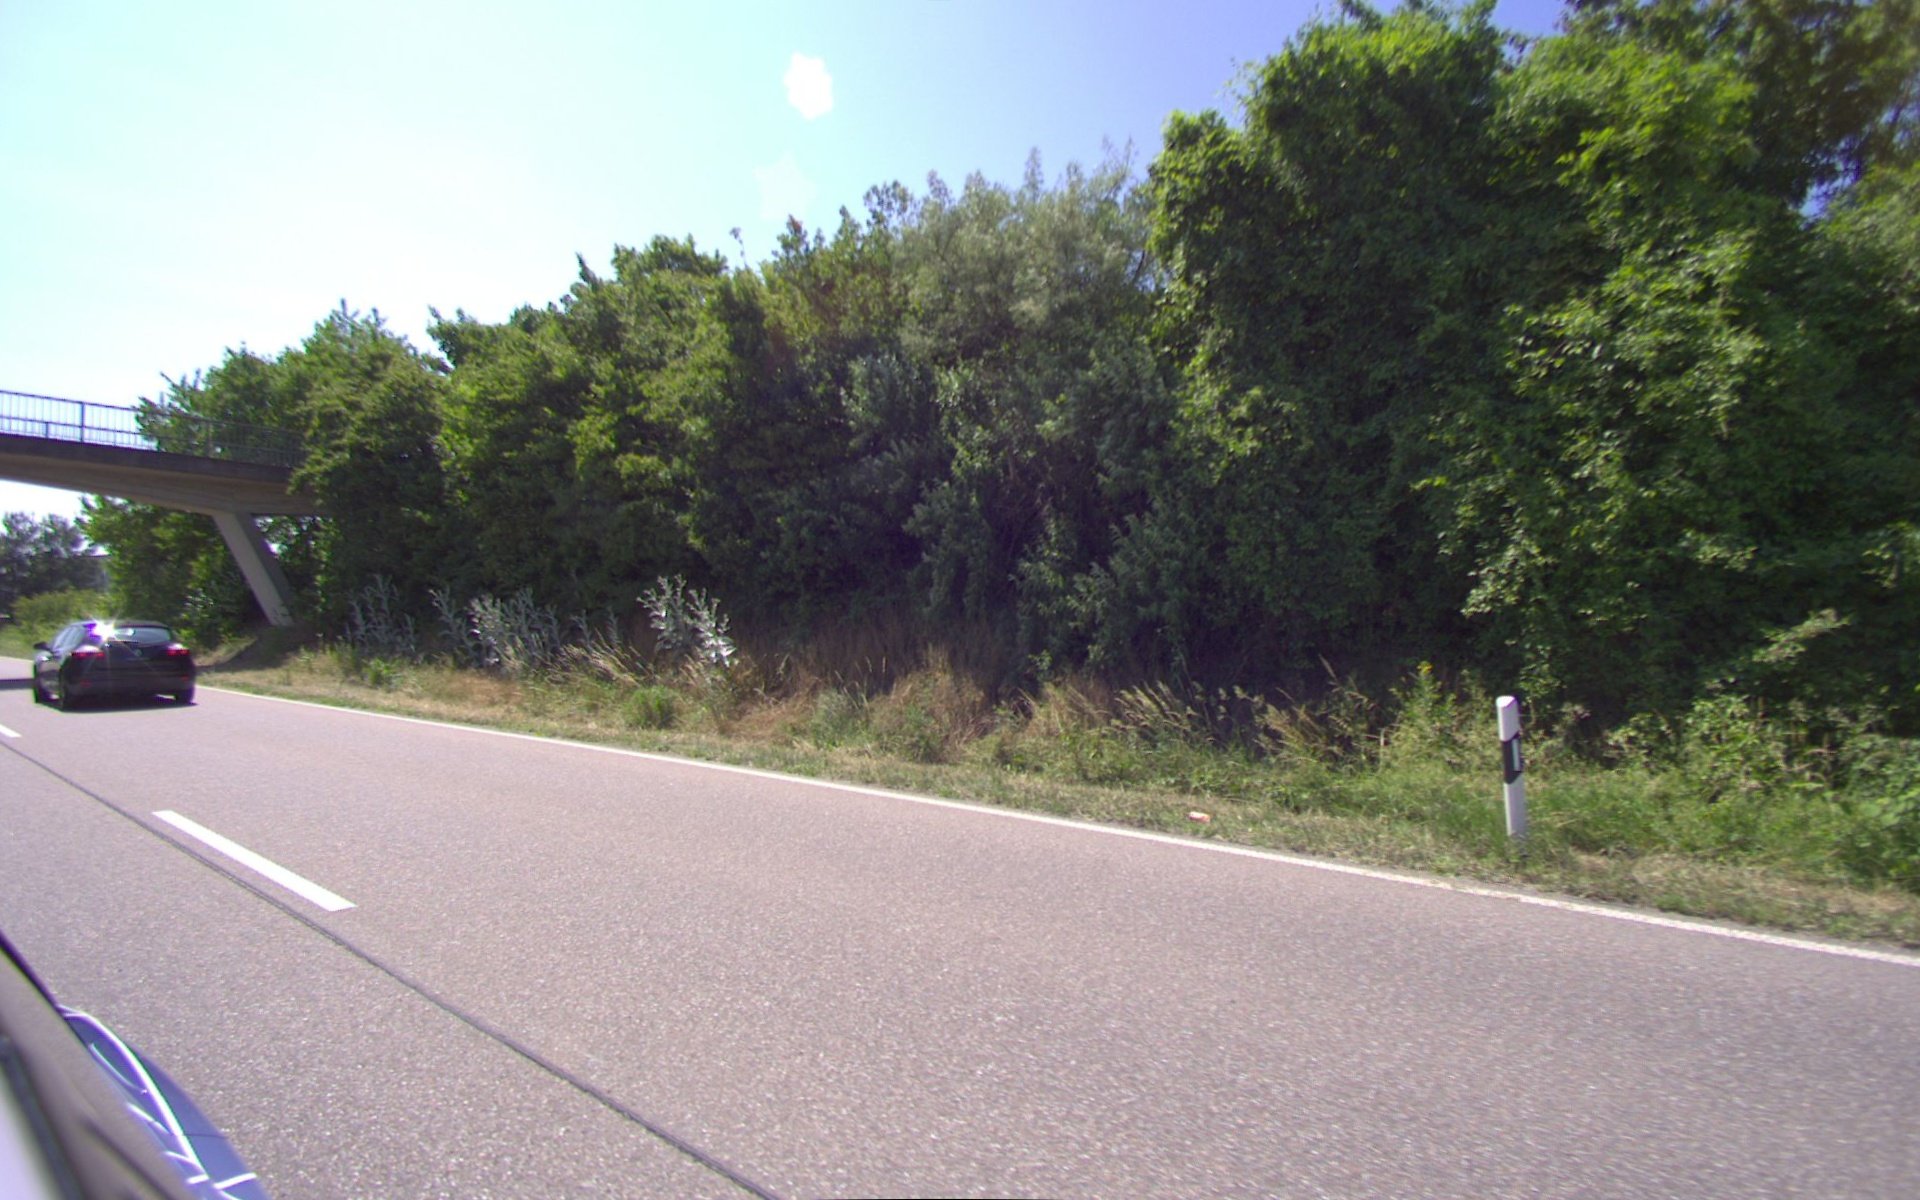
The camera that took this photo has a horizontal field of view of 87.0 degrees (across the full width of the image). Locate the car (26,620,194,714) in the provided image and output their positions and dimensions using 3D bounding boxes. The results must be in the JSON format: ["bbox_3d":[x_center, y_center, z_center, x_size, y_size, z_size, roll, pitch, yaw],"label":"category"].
[{"bbox_3d":[-14.966,1.081,17.757,3.998,1.440,1.689,-1,-1,41],"label":"car"}]
